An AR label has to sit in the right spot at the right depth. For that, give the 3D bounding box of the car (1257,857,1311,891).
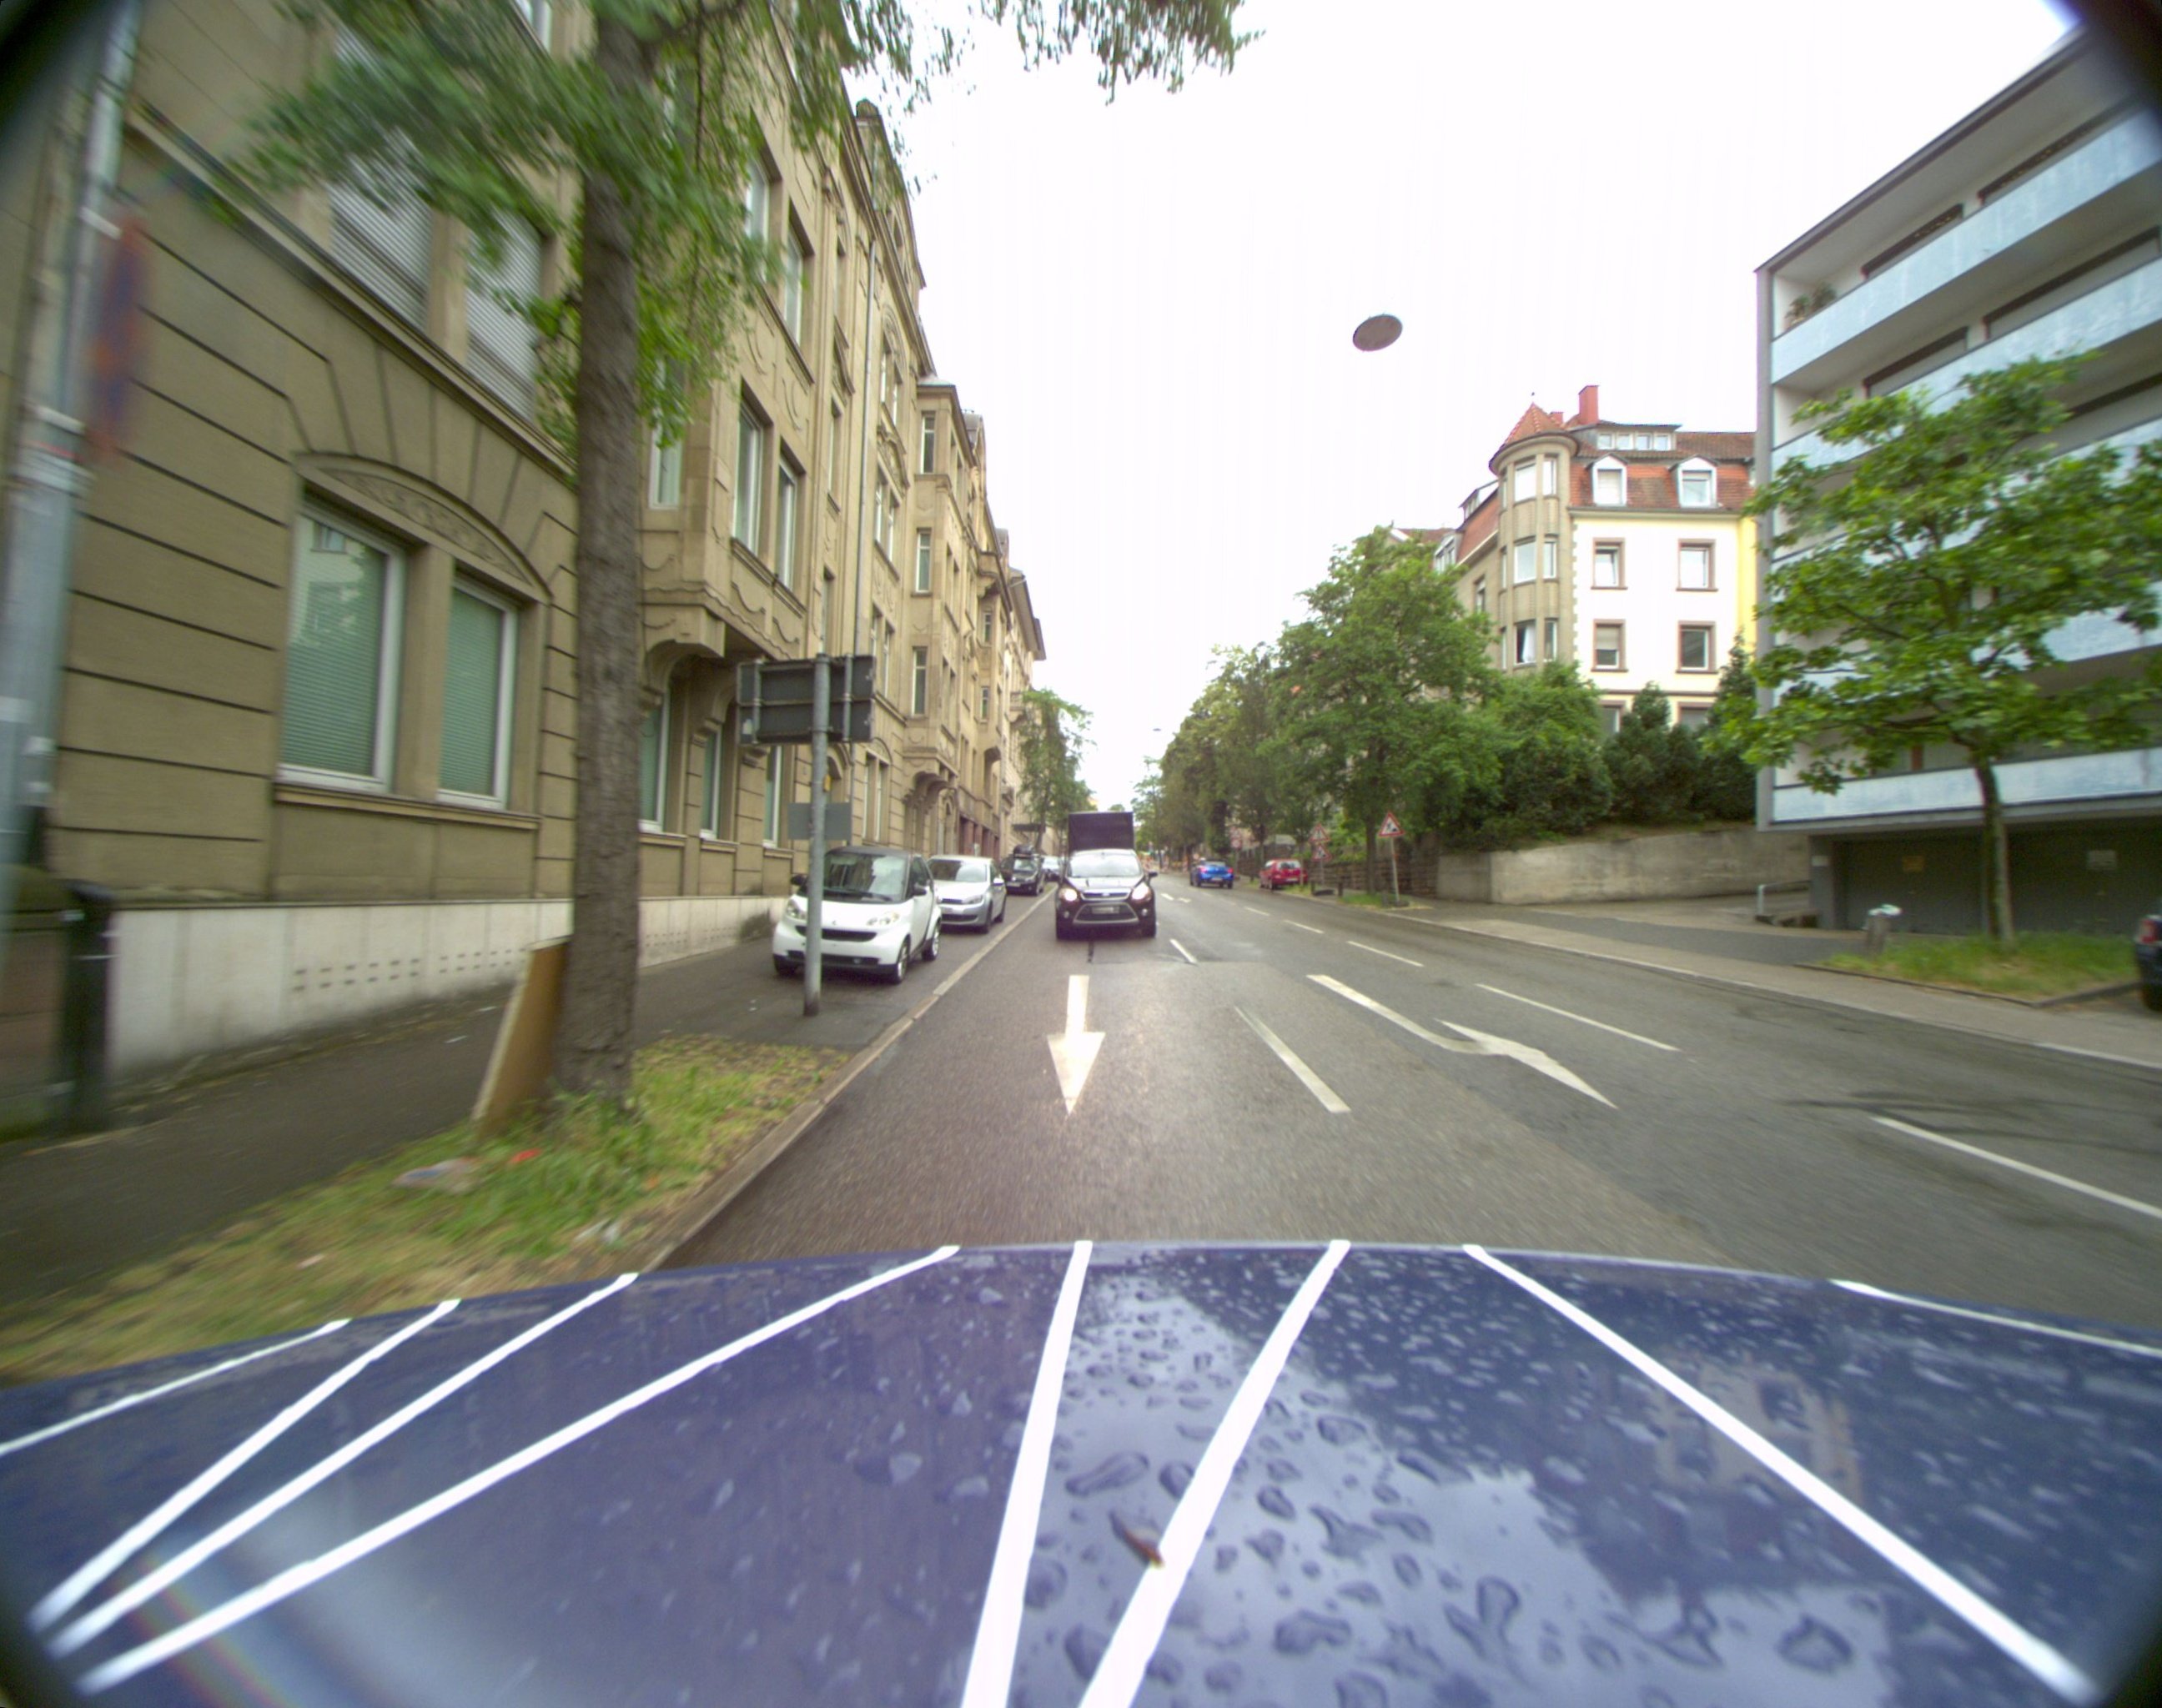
[{"bbox_3d":[9.597,0.910,36.257,1.617,1.442,4.064,-1,0,2],"label":"car"}]

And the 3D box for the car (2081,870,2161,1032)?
[{"bbox_3d":[12.927,0.975,7.869,4.375,1.565,1.940,0,1,-21],"label":"car"}]

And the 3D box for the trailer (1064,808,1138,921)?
[{"bbox_3d":[0.519,0.237,20.987,1.783,2.744,4.816,-1,1,1],"label":"trailer"}]

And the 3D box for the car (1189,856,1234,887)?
[{"bbox_3d":[6.474,0.819,38.020,1.719,1.442,3.742,0,0,2],"label":"car"}]

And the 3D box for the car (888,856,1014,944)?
[{"bbox_3d":[-2.544,0.845,15.834,1.764,1.443,4.000,4,0,1],"label":"car"}]

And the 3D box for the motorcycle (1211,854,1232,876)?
[{"bbox_3d":[9.667,0.731,52.410,0.802,1.406,3.061,-2,0,-1],"label":"motorcycle"}]

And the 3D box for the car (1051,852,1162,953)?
[{"bbox_3d":[0.502,0.803,14.820,1.823,1.662,4.522,-1,0,2],"label":"car"}]

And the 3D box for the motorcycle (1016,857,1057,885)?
[{"bbox_3d":[-2.161,0.850,37.231,0.523,1.236,2.282,3,-1,42],"label":"motorcycle"}]

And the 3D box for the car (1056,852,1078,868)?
[{"bbox_3d":[-1.365,0.566,76.791,1.910,1.503,4.318,3,0,2],"label":"car"}]

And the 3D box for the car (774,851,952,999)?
[{"bbox_3d":[-2.662,0.782,9.877,1.302,1.534,2.976,4,0,1],"label":"car"}]

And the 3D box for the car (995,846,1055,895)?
[{"bbox_3d":[-2.107,0.603,29.586,1.764,1.642,4.099,4,0,2],"label":"car"}]

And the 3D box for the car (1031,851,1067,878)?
[{"bbox_3d":[-1.894,0.615,45.633,1.794,1.444,4.039,3,0,2],"label":"car"}]
